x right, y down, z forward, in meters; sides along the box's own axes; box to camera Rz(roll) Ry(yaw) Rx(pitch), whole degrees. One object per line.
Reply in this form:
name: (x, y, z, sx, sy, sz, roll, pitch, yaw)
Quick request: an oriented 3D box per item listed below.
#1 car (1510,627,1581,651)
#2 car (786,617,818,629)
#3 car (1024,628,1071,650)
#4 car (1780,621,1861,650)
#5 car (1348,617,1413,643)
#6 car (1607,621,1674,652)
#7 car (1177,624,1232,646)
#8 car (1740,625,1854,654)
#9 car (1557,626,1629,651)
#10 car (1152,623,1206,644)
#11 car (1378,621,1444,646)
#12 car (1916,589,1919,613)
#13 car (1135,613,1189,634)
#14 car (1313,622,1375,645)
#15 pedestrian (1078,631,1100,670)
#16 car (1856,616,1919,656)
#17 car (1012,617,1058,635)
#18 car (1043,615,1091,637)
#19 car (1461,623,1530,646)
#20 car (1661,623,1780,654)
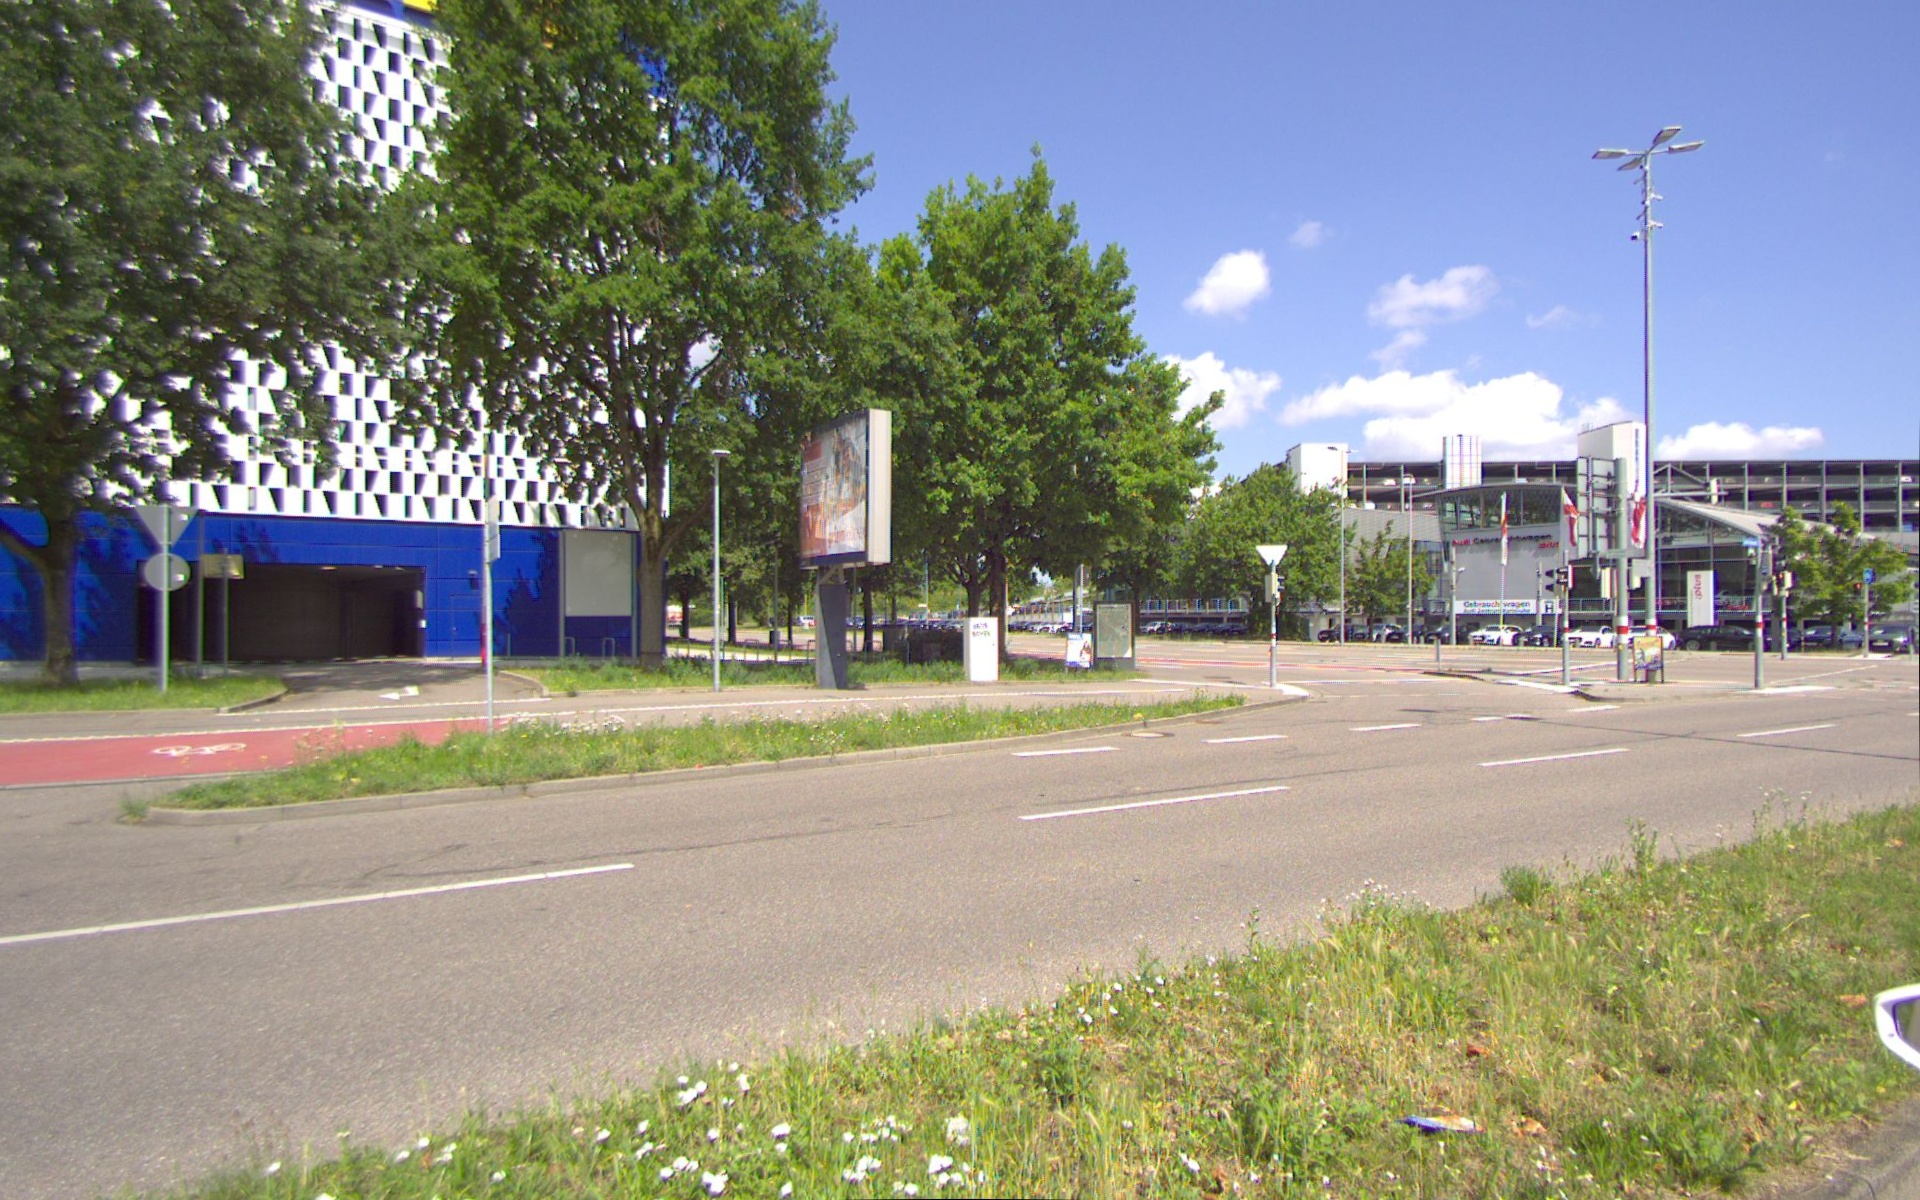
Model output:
car: (34.886, 2.352, 59.797, 4.543, 1.315, 1.889, 2, 0, -35)
car: (-23.126, 3.379, 147.047, 4.327, 1.533, 1.916, 2, 0, -36)
car: (8.744, 3.936, 100.453, 4.543, 2.076, 1.889, 2, 0, -35)
car: (42.104, 1.724, 49.116, 4.543, 1.315, 1.889, 2, 0, -35)
car: (28.846, 2.058, 68.852, 4.545, 1.423, 1.889, 5, -2, -35)
car: (37.607, 2.021, 55.474, 3.961, 1.483, 1.779, 5, -3, -35)
car: (20.272, 2.937, 83.282, 4.543, 1.700, 1.889, 2, 0, -35)
car: (48.067, 2.255, 57.782, 1.965, 1.530, 4.710, 5, -3, -34)
car: (36.381, 2.239, 57.716, 4.543, 1.315, 1.889, 2, 0, -35)
car: (18.541, 2.826, 84.960, 4.543, 1.700, 1.889, 2, 0, -35)
car: (29.891, 2.198, 66.507, 4.544, 1.402, 1.889, 4, -1, -35)
car: (76.182, 0.095, 76.670, 1.747, 1.825, 4.412, 2, 0, -35)
car: (17.496, 2.011, 86.958, 4.543, 1.700, 1.889, 2, 0, -35)
car: (27.272, 2.369, 71.307, 4.544, 1.423, 1.889, 3, -1, -35)
pedestrian: (5.290, 2.064, 41.209, 0.499, 1.576, 0.753, 0, -1, -34)
car: (43.631, 1.669, 46.708, 4.543, 1.700, 1.889, 2, 0, -35)
car: (7.639, 2.621, 102.444, 4.543, 1.700, 1.889, 2, 0, -35)
car: (10.489, 2.564, 98.075, 4.543, 2.076, 1.889, 2, 0, -35)
car: (33.185, 2.136, 62.193, 4.543, 1.315, 1.889, 2, 0, -35)
car: (40.002, 1.987, 52.921, 1.778, 1.483, 4.710, 5, -3, -34)
